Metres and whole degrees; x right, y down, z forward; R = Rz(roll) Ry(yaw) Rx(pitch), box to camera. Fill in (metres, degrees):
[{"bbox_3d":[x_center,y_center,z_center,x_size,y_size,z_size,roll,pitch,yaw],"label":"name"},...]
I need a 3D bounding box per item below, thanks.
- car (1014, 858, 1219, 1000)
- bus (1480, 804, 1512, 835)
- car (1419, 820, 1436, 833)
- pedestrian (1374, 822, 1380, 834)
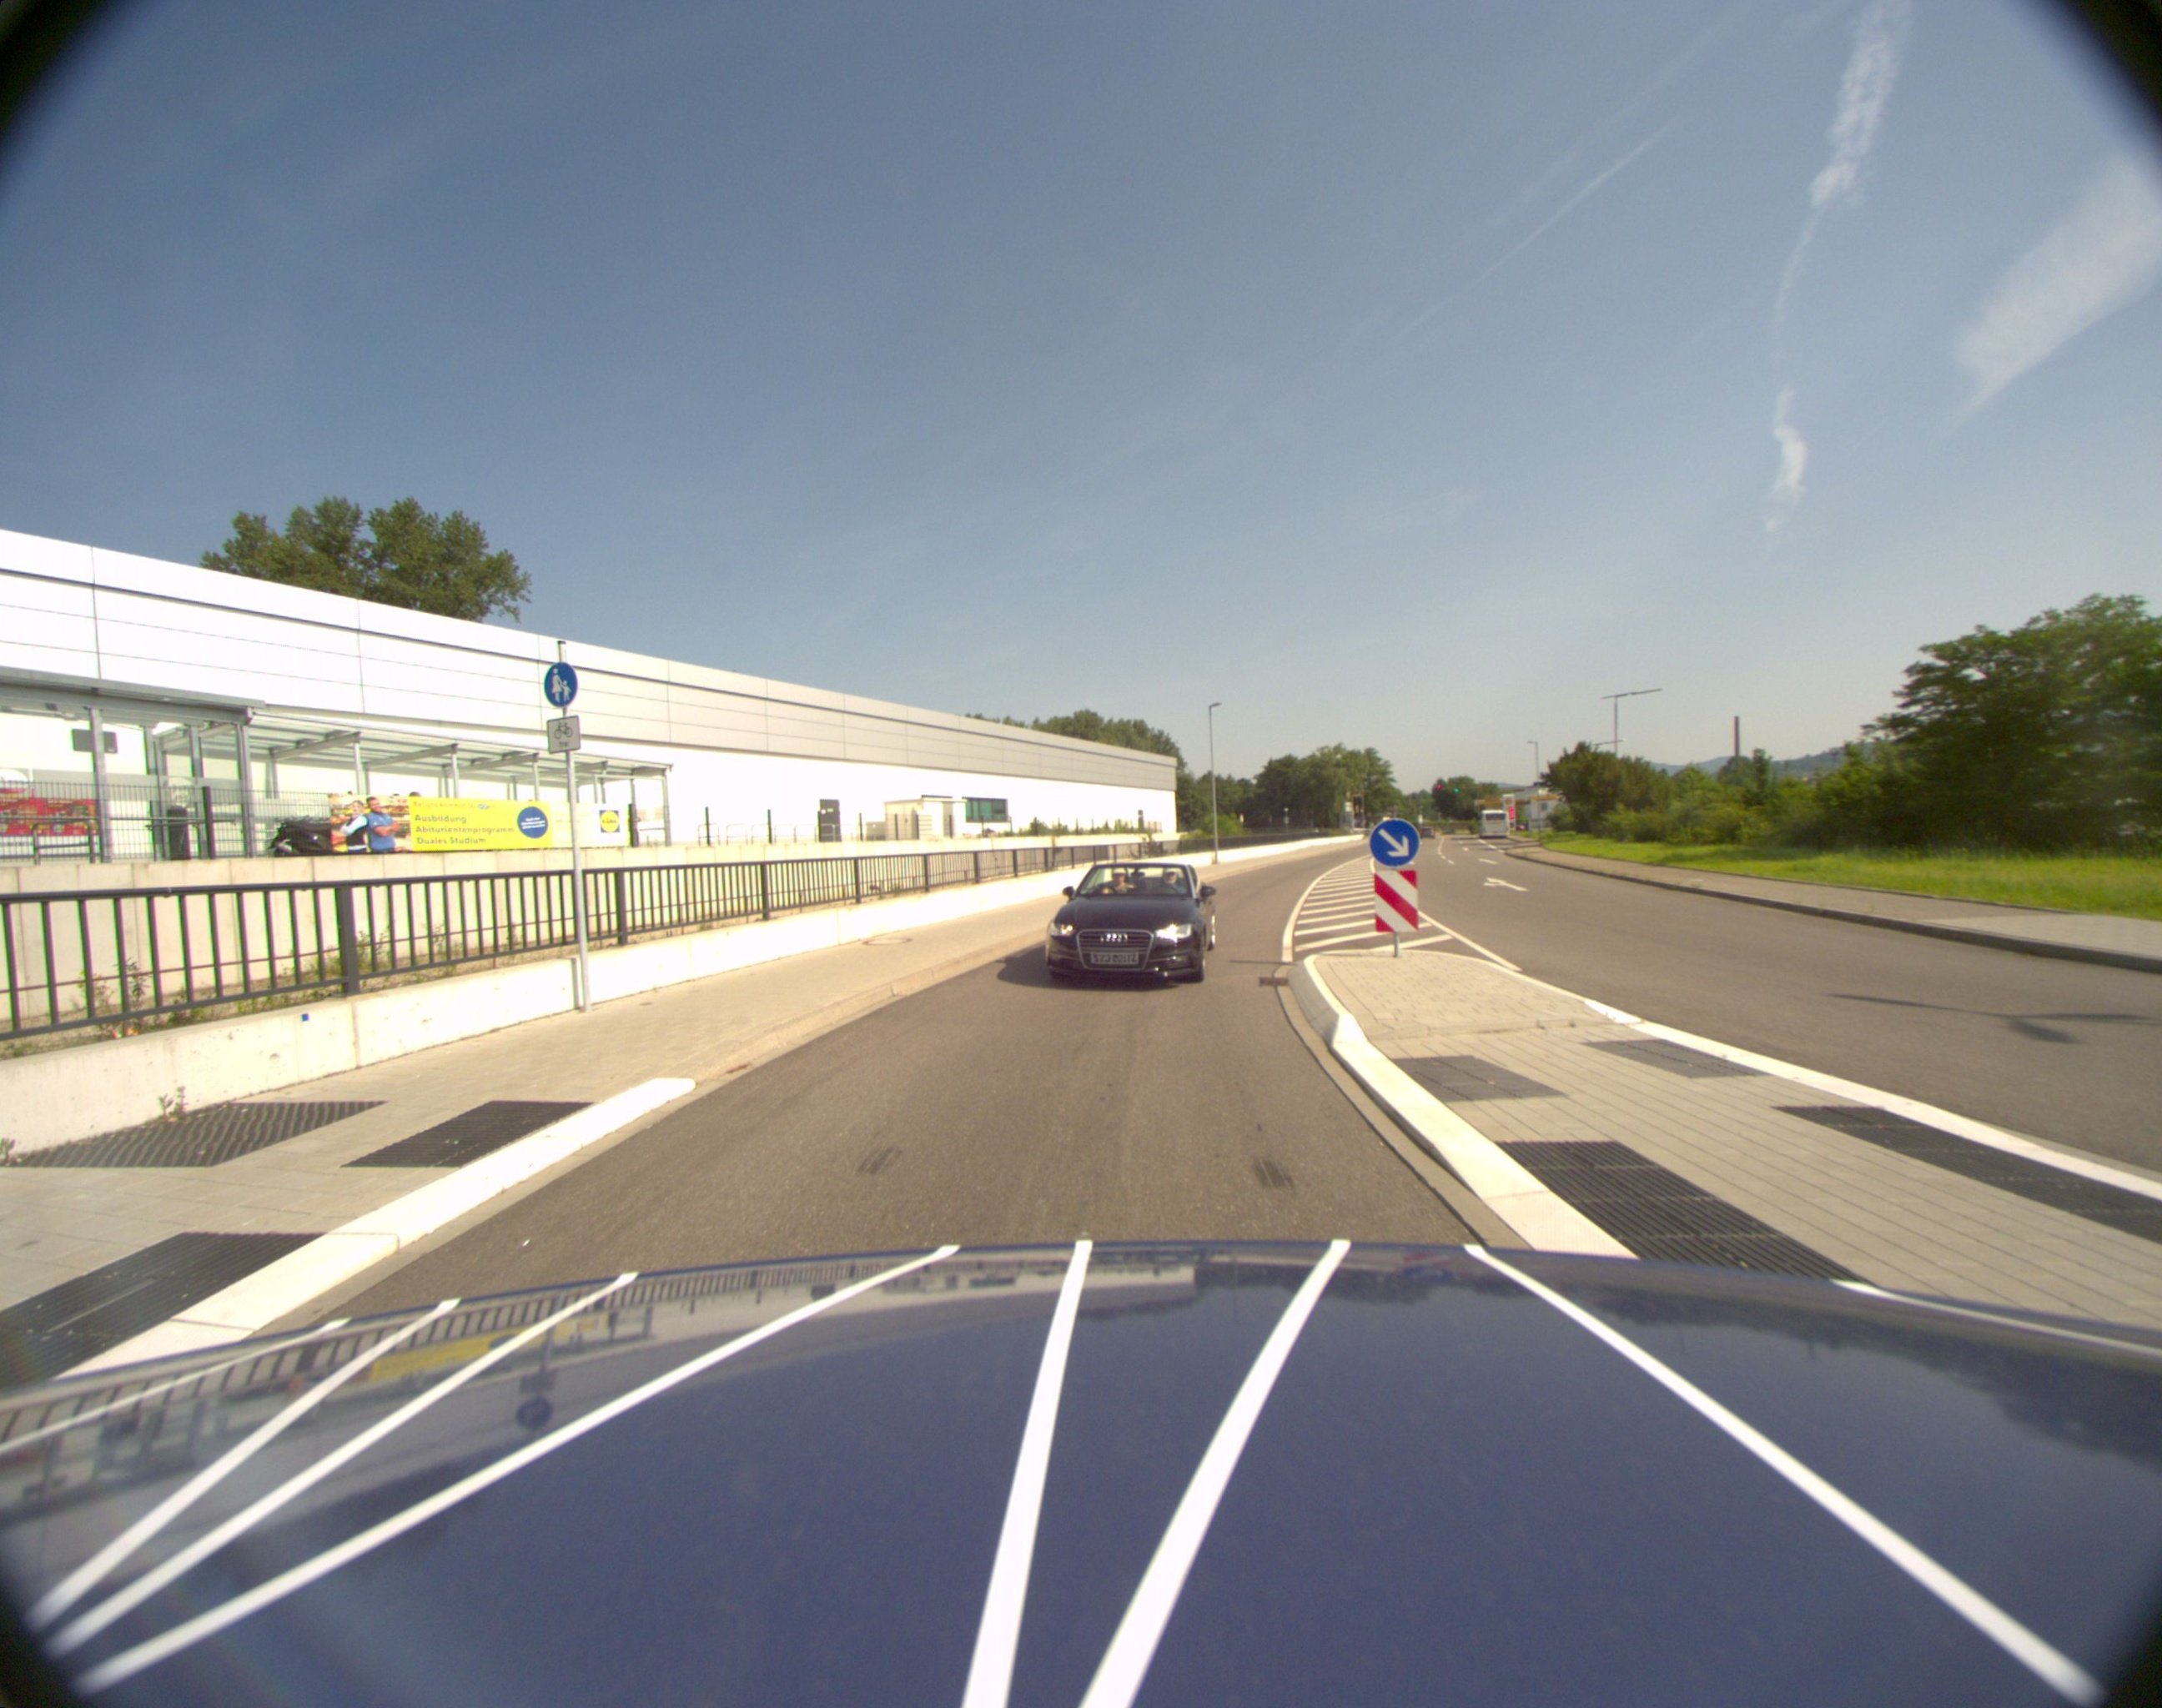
[{"bbox_3d":[0.714,0.797,9.870,1.867,1.323,4.236,-2,1,13],"label":"car"},{"bbox_3d":[47.758,-3.984,87.597,2.622,3.292,11.973,-1,2,26],"label":"bus"},{"bbox_3d":[43.582,-3.477,95.550,1.773,1.465,4.225,-1,2,27],"label":"car"},{"bbox_3d":[40.603,-3.529,104.272,0.711,1.662,0.594,-1,3,19],"label":"pedestrian"}]
